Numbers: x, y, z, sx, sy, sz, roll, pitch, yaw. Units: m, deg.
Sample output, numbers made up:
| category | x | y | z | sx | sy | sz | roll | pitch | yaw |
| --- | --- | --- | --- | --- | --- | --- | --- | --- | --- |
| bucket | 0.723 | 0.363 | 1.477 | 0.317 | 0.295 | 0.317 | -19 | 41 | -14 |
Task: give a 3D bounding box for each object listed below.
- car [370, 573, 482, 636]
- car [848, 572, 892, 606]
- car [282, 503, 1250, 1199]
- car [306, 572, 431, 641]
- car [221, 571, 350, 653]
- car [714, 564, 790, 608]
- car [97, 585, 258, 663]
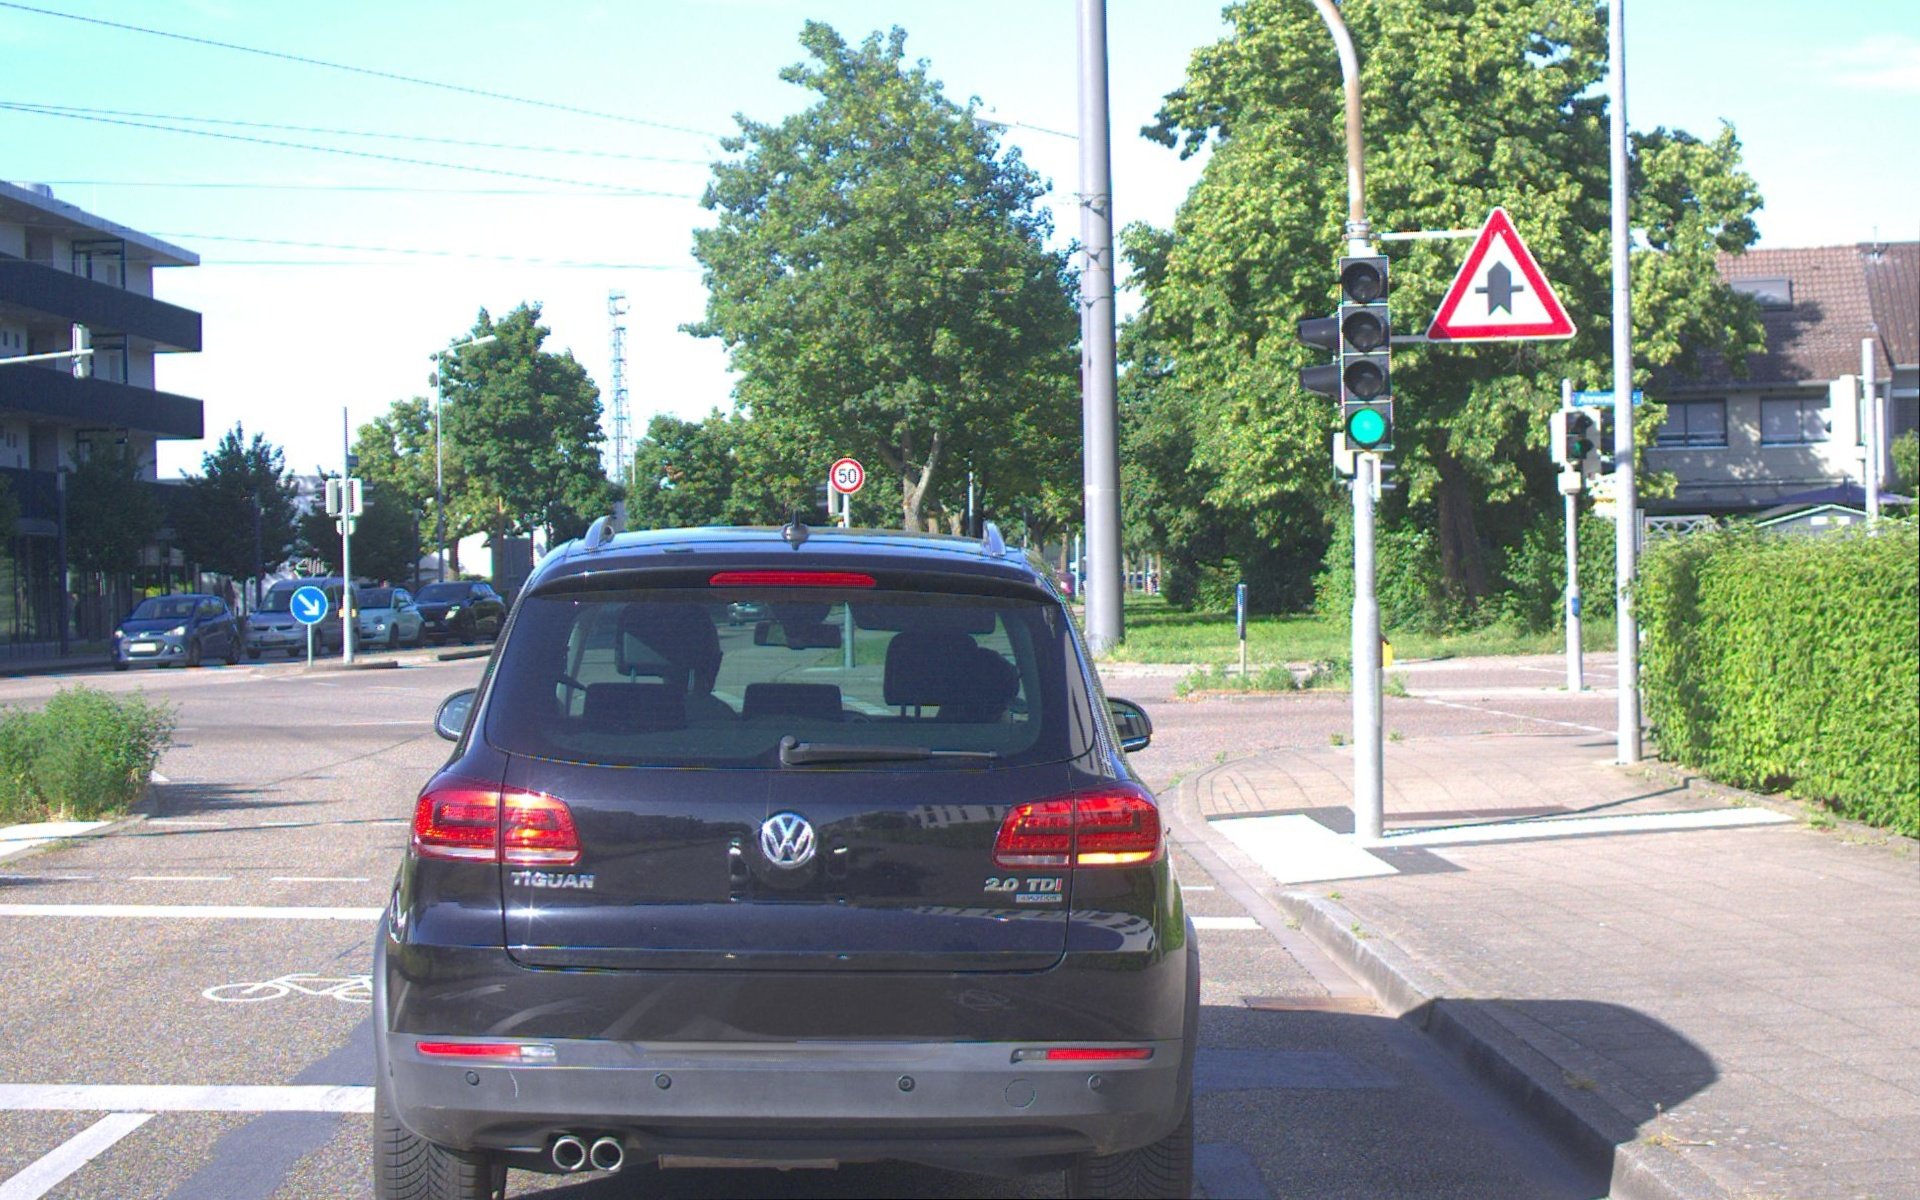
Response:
| category | x | y | z | sx | sy | sz | roll | pitch | yaw |
| --- | --- | --- | --- | --- | --- | --- | --- | --- | --- |
| car | -13.729 | 0.107 | 88.620 | 1.967 | 1.529 | 4.740 | -1 | 0 | 2 |
| car | -4.701 | -0.589 | 180.325 | 1.993 | 1.731 | 5.199 | -1 | 1 | 2 |
| car | -0.463 | 0.631 | 9.203 | 1.929 | 1.649 | 4.514 | 1 | 0 | -2 |
| car | -14.243 | 0.138 | 82.928 | 1.994 | 1.482 | 3.543 | -3 | 0 | 6 |
| car | -15.169 | 0.237 | 77.501 | 1.993 | 1.749 | 4.362 | -1 | 0 | 0 |
| car | -7.637 | -0.531 | 126.573 | 1.994 | 1.566 | 3.999 | -1 | 0 | 8 |
| car | -15.777 | 0.467 | 69.511 | 1.696 | 1.451 | 4.451 | -1 | 0 | 8 |
